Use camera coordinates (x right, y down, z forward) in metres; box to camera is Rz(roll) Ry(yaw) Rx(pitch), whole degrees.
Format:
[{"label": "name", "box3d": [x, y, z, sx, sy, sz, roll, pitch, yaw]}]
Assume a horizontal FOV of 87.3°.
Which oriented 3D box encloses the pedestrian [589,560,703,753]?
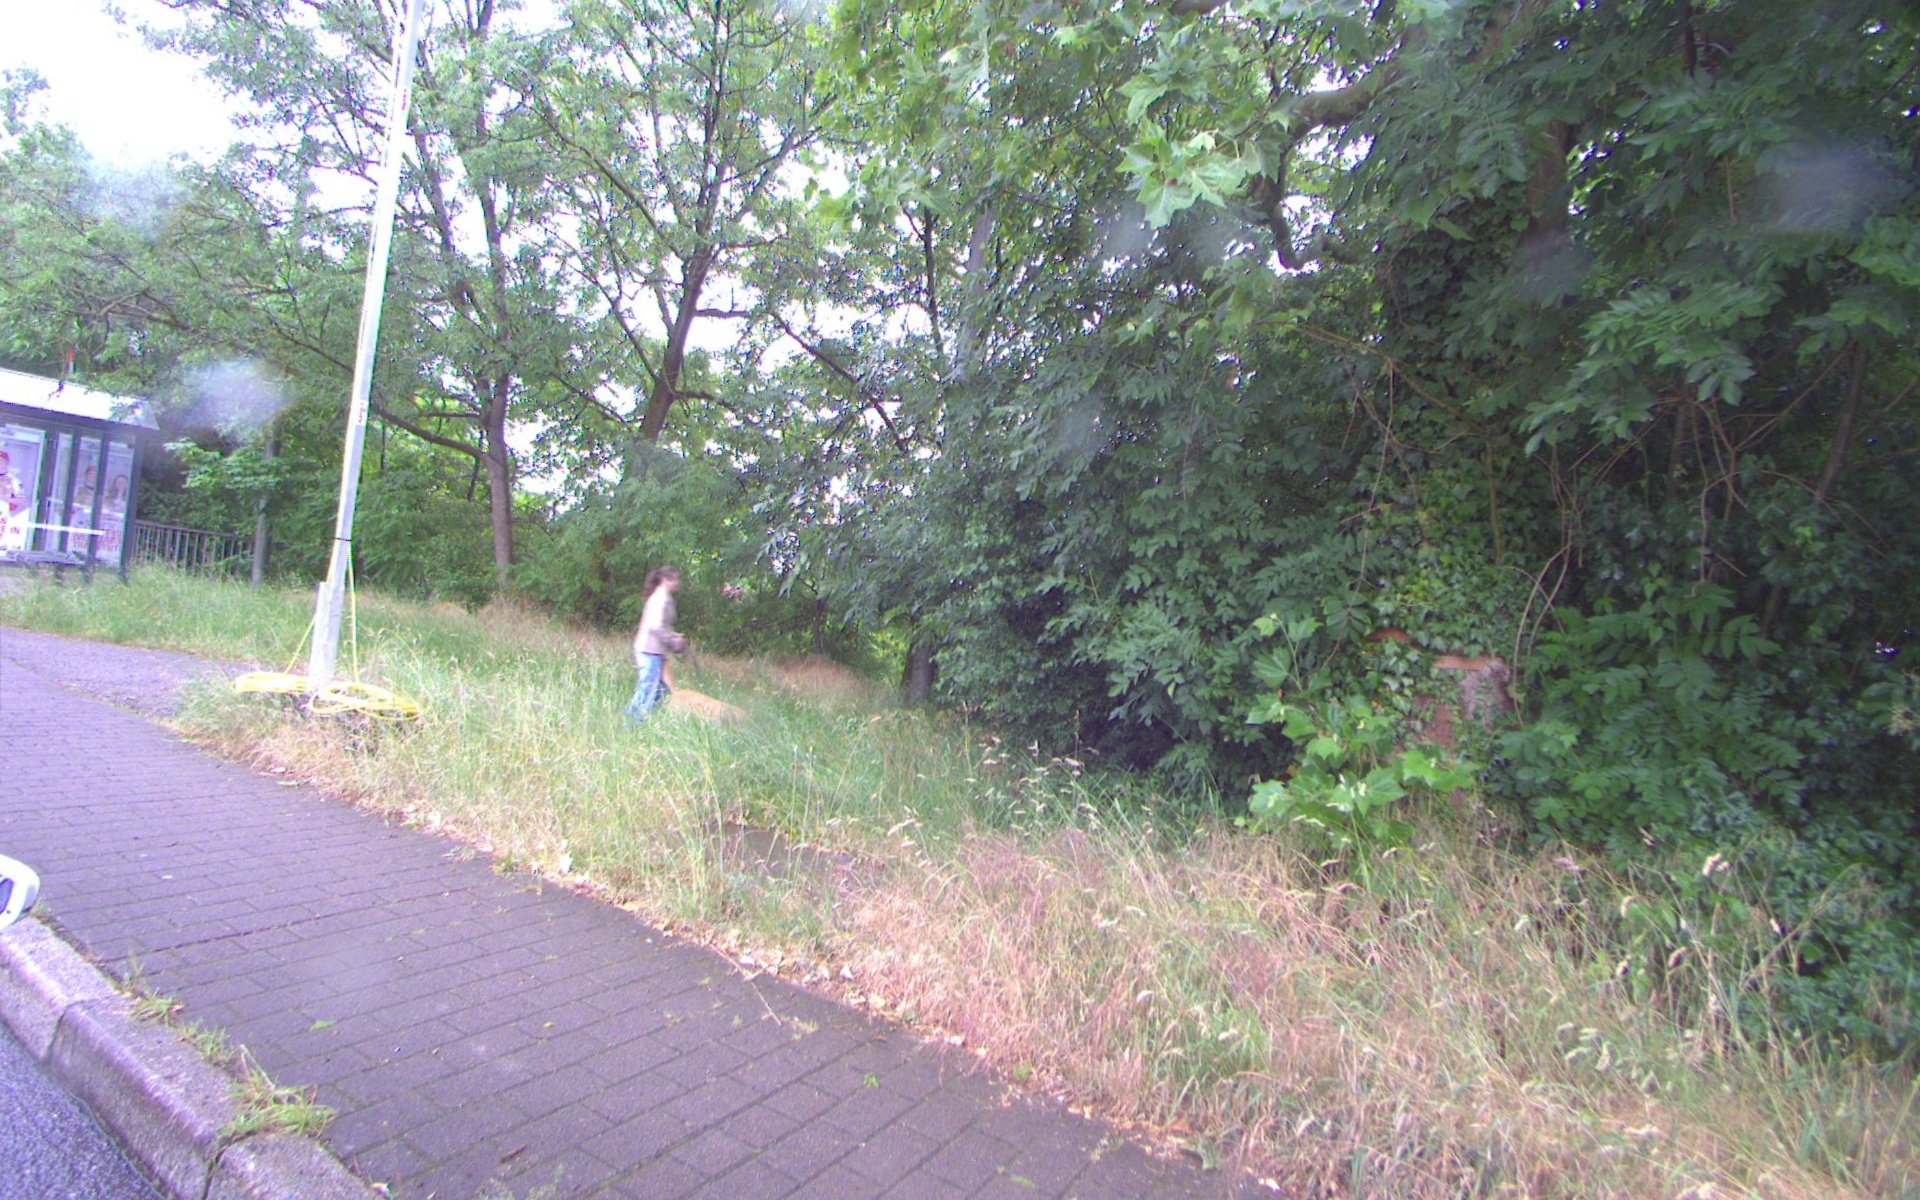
[{"label": "pedestrian", "box3d": [-2.869, 0.513, 9.259, 0.740, 1.622, 0.731, 7, -1, -12]}]
